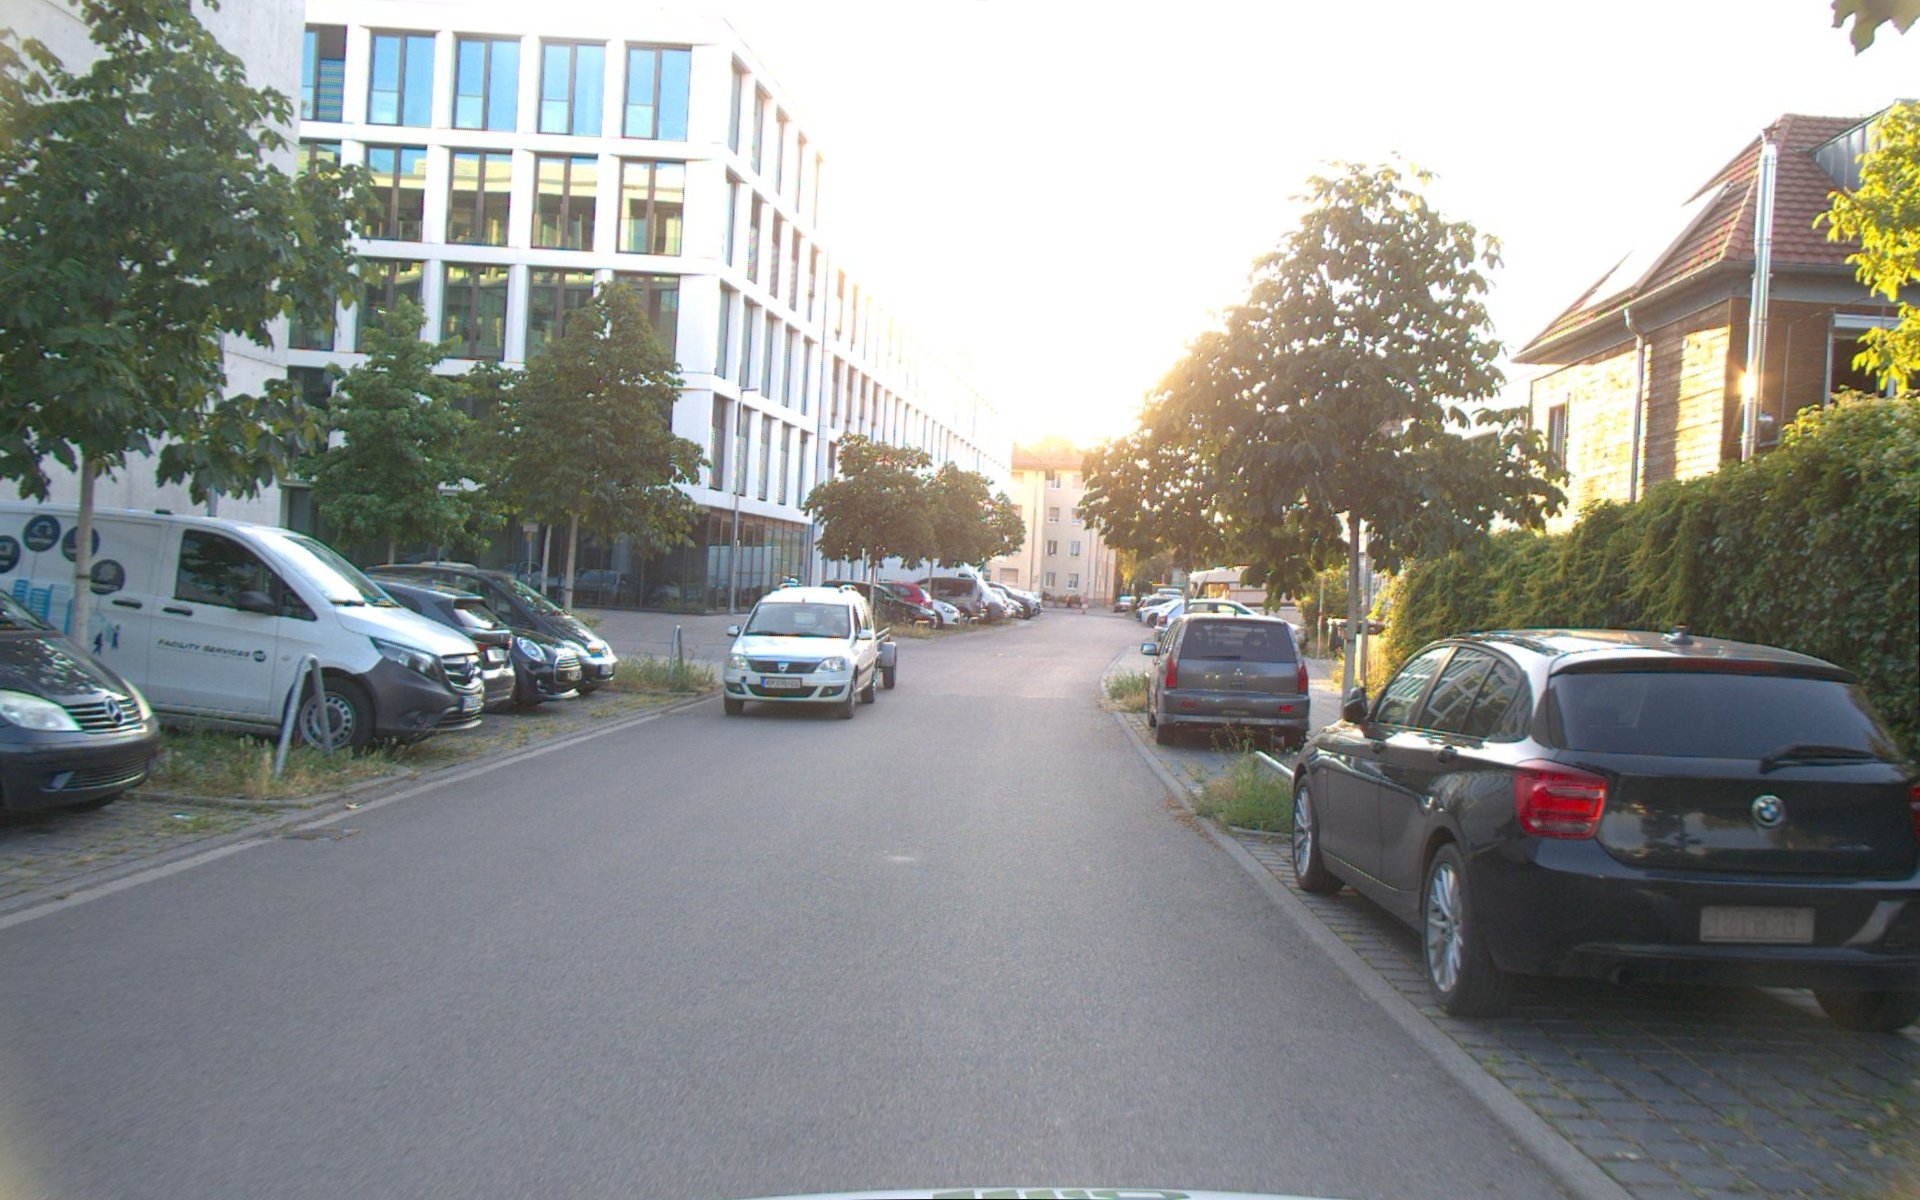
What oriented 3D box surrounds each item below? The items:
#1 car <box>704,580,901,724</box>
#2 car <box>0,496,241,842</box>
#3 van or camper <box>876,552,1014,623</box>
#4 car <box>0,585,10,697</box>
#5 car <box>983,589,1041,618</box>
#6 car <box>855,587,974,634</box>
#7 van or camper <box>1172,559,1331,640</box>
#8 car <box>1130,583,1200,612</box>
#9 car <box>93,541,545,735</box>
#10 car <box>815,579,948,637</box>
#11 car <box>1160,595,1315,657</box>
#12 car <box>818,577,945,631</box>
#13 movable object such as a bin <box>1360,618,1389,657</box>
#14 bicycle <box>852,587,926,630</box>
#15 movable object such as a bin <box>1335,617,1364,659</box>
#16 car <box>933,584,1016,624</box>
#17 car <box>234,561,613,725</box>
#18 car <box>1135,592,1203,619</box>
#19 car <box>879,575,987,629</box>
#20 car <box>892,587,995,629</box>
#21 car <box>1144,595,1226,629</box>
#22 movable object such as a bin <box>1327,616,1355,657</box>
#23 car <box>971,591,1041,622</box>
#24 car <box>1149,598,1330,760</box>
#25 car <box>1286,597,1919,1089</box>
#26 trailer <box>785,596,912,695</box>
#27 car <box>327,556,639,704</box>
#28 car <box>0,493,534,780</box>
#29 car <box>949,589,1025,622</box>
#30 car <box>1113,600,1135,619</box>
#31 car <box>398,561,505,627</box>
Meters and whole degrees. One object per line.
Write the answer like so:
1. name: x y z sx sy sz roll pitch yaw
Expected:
1. car: -2.025 0.636 22.690 1.911 1.715 4.724 2 0 4
2. car: -6.661 0.192 9.492 4.162 1.772 1.724 5 0 -1
3. van or camper: -0.607 -0.539 68.623 5.338 2.526 1.777 5 1 8
4. car: -6.708 0.456 7.163 4.061 1.428 1.724 5 0 -1
5. car: 2.793 0.176 88.976 2.951 1.446 1.459 1 1 8
6. car: -1.589 0.367 58.732 3.963 1.504 1.769 1 1 8
7. van or camper: 10.694 -0.055 61.124 5.492 2.838 2.431 1 1 4
8. car: 12.992 -0.168 105.033 4.251 1.672 1.817 1 1 3
9. car: -6.487 0.374 17.043 3.907 1.548 1.605 5 0 -1
10. car: -2.495 0.230 53.218 3.965 1.504 1.769 4 2 5
11. car: 7.516 0.689 45.090 3.965 1.504 1.768 1 1 3
12. car: -2.656 0.127 56.276 3.965 1.504 1.769 5 1 8
13. movable object such as a bin: 10.912 0.983 43.555 0.566 0.975 0.689 2 1 3
14. bicycle: -2.197 0.260 51.244 2.132 1.194 0.812 3 0 7
15. movable object such as a bin: 10.182 0.995 43.253 0.566 1.028 0.689 2 1 3
16. car: 0.656 0.171 73.374 3.484 1.680 1.459 1 1 8
17. car: -6.234 0.475 19.505 3.807 1.514 1.652 5 0 1
18. car: 12.787 0.342 101.473 3.965 1.504 1.768 1 1 3
19. car: -1.025 0.075 63.625 3.965 1.941 1.737 1 1 4
20. car: -0.640 0.321 66.327 3.965 1.550 1.737 1 1 4
21. car: 11.053 0.565 81.307 3.964 1.504 1.769 1 1 8
22. movable object such as a bin: 10.145 0.977 44.048 0.566 1.028 0.689 2 1 3
23. car: 2.423 0.335 86.548 3.484 1.504 1.459 1 1 8
24. car: 3.172 0.816 19.527 1.688 1.607 4.601 2 0 5
25. car: 2.710 0.792 7.476 1.658 1.536 4.193 2 0 1
26. trailer: -1.768 0.697 27.314 1.670 1.372 3.488 3 1 2
27. car: -6.372 0.376 22.300 3.559 1.604 1.662 5 0 6
28. car: -6.516 0.243 14.371 4.973 1.980 1.889 5 0 0
29. car: 1.320 0.254 80.464 3.484 1.504 1.459 1 1 8
30. car: 15.093 0.877 152.468 1.909 1.612 3.643 3 0 6
31. car: -13.639 -0.191 44.535 1.687 1.511 3.552 3 3 1
